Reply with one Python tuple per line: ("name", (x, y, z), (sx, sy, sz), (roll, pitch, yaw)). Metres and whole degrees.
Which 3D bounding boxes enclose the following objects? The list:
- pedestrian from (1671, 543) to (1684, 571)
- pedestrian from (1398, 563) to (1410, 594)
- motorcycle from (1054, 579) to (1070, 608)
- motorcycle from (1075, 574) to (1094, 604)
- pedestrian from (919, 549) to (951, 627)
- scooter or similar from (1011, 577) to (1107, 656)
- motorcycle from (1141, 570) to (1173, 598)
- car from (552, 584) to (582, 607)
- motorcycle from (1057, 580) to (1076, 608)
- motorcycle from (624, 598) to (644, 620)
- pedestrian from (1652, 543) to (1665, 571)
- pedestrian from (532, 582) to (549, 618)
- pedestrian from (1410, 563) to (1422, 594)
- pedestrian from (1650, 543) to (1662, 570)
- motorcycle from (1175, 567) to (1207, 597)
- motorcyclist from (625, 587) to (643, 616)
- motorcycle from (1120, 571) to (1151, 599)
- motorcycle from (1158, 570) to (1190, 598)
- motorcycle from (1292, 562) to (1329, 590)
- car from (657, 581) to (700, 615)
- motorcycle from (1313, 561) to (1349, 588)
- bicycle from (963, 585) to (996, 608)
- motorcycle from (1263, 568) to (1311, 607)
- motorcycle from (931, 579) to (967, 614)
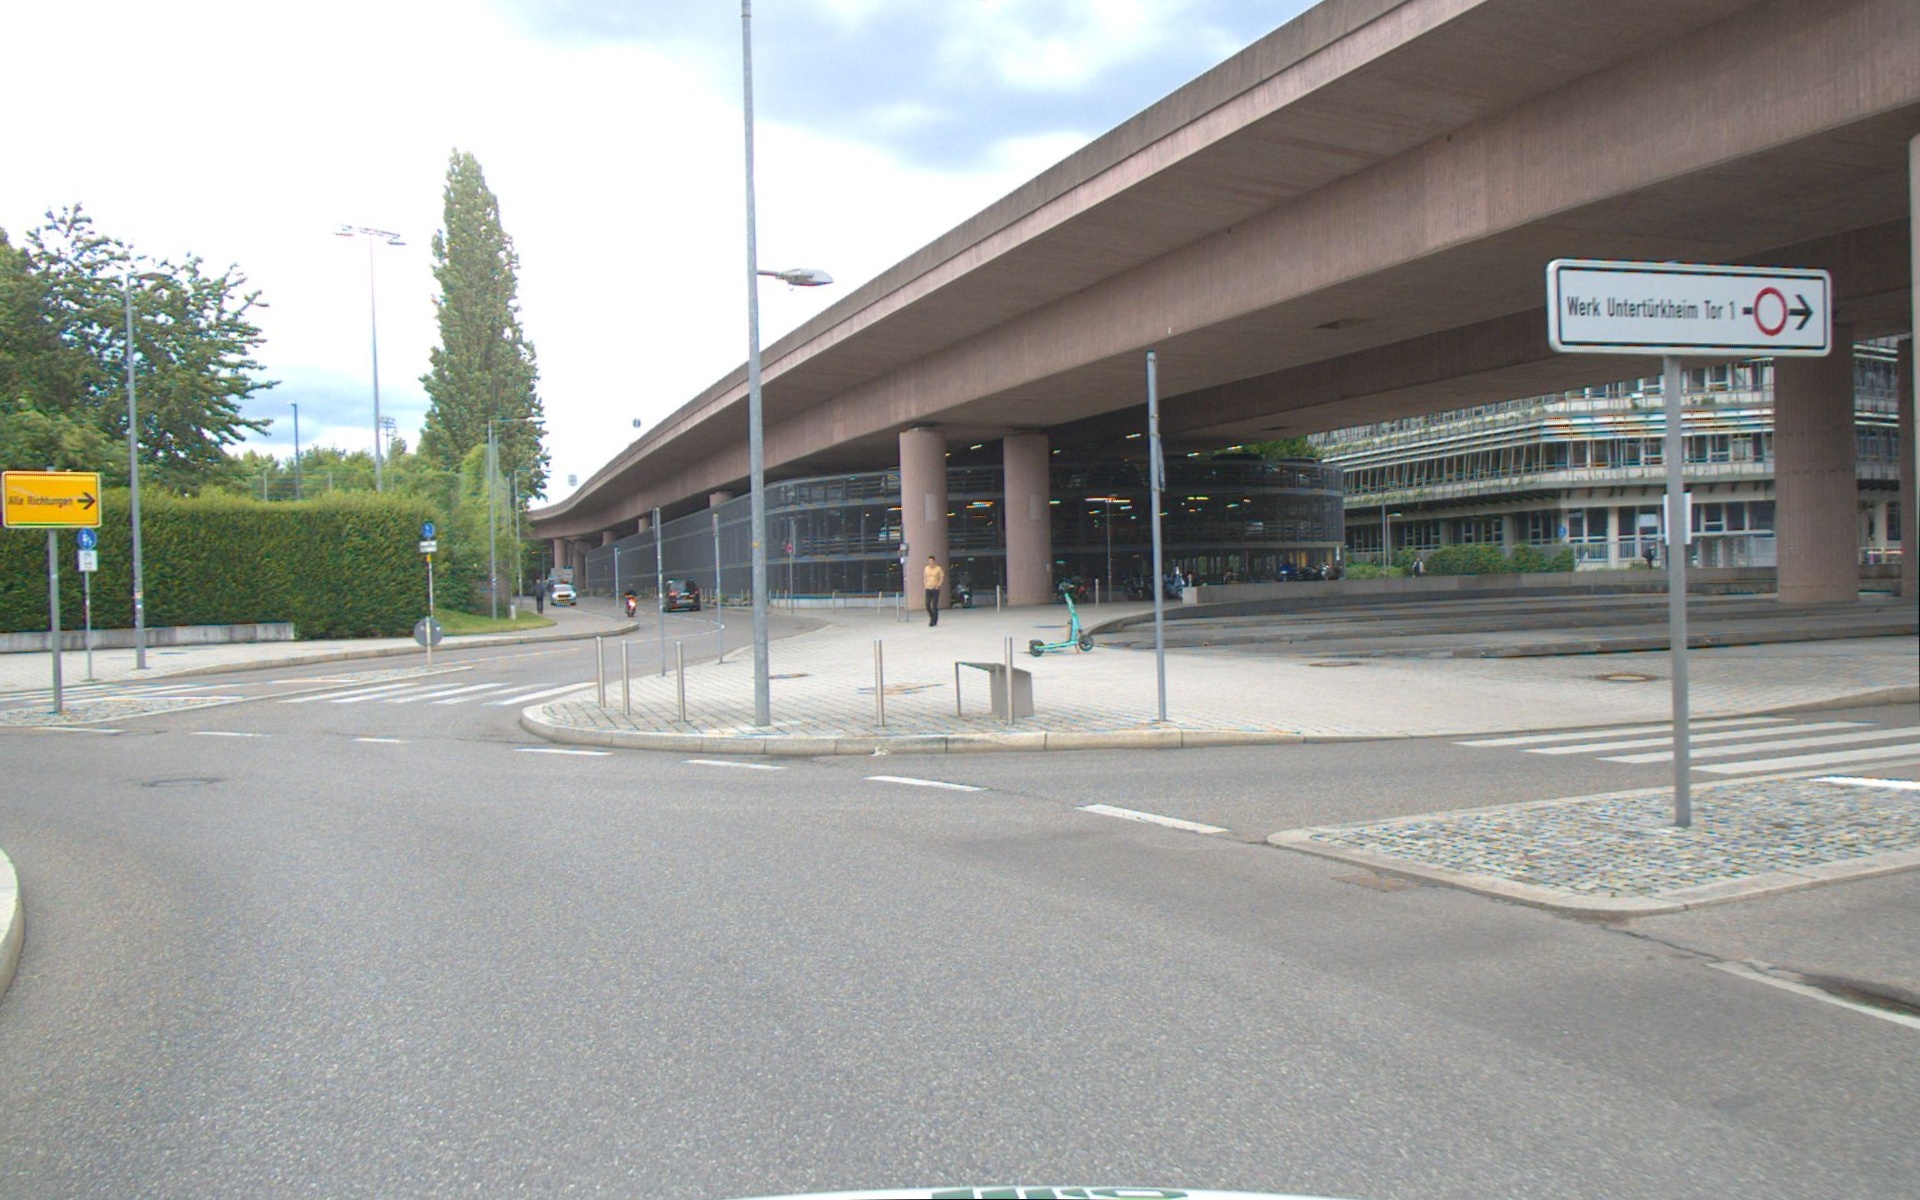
("pedestrian", (40.146, -2.416, 92.551), (0.487, 1.507, 0.542), (0, 2, 41))
("pedestrian", (29.417, -1.401, 109.555), (0.517, 2.049, 0.572), (-1, 0, -9))
("motorcycle", (4.541, -0.279, 73.790), (0.509, 1.241, 1.151), (-2, 2, 13))
("motorcycle", (5.616, -0.507, 74.724), (0.812, 1.241, 2.080), (-2, 2, 4))
("pedestrian", (-0.669, -0.330, 44.239), (0.766, 2.048, 1.039), (-2, 2, -3))
("scooter or similar", (1.753, 0.291, 29.403), (1.611, 1.318, 0.518), (-2, 2, -3))
("motorcycle", (9.013, -0.756, 75.712), (0.661, 1.241, 2.069), (-2, 2, -16))
("car", (-31.527, -0.376, 132.570), (1.836, 1.712, 4.381), (-3, 2, -19))
("motorcycle", (4.606, -0.267, 71.261), (0.509, 1.191, 1.151), (-1, -1, 19))
("motorcycle", (-16.626, 0.469, 84.367), (0.734, 1.040, 1.947), (-2, 2, -18))
("pedestrian", (39.298, -2.419, 93.013), (0.487, 1.507, 0.542), (0, 2, 41))
("pedestrian", (-22.091, -0.017, 87.100), (0.790, 1.811, 0.917), (-2, 2, -14))
("pedestrian", (30.119, -1.394, 109.201), (0.517, 2.049, 0.572), (-1, 0, -10))
("pedestrian", (40.100, -2.520, 95.273), (0.487, 1.507, 0.542), (0, 2, 41))
("motorcycle", (10.645, -0.836, 76.271), (0.661, 1.308, 2.069), (-2, 2, -16))
("motorcyclist", (-16.615, 0.074, 84.322), (0.750, 1.444, 0.865), (-2, 2, -18))
("motorcycle", (8.010, -0.688, 75.593), (0.661, 1.241, 2.069), (-2, 2, -16))
("motorcycle", (9.803, -0.759, 75.975), (0.661, 1.241, 2.069), (-2, 2, -16))
("motorcycle", (16.832, -1.172, 79.485), (0.661, 1.297, 2.353), (-2, 2, -16))
("car", (-15.396, -0.125, 90.405), (1.811, 1.741, 3.688), (-2, 2, -17))
("motorcycle", (18.019, -1.246, 80.362), (0.661, 1.241, 2.353), (-2, 2, -16))
("bicycle", (0.911, -0.157, 76.908), (1.441, 0.993, 0.452), (-2, 2, 8))
("motorcycle", (11.611, -0.454, 58.675), (1.923, 1.286, 0.540), (-3, 2, -40))
("motorcycle", (-0.478, -0.163, 71.038), (0.636, 1.480, 1.742), (-3, 2, -33))
